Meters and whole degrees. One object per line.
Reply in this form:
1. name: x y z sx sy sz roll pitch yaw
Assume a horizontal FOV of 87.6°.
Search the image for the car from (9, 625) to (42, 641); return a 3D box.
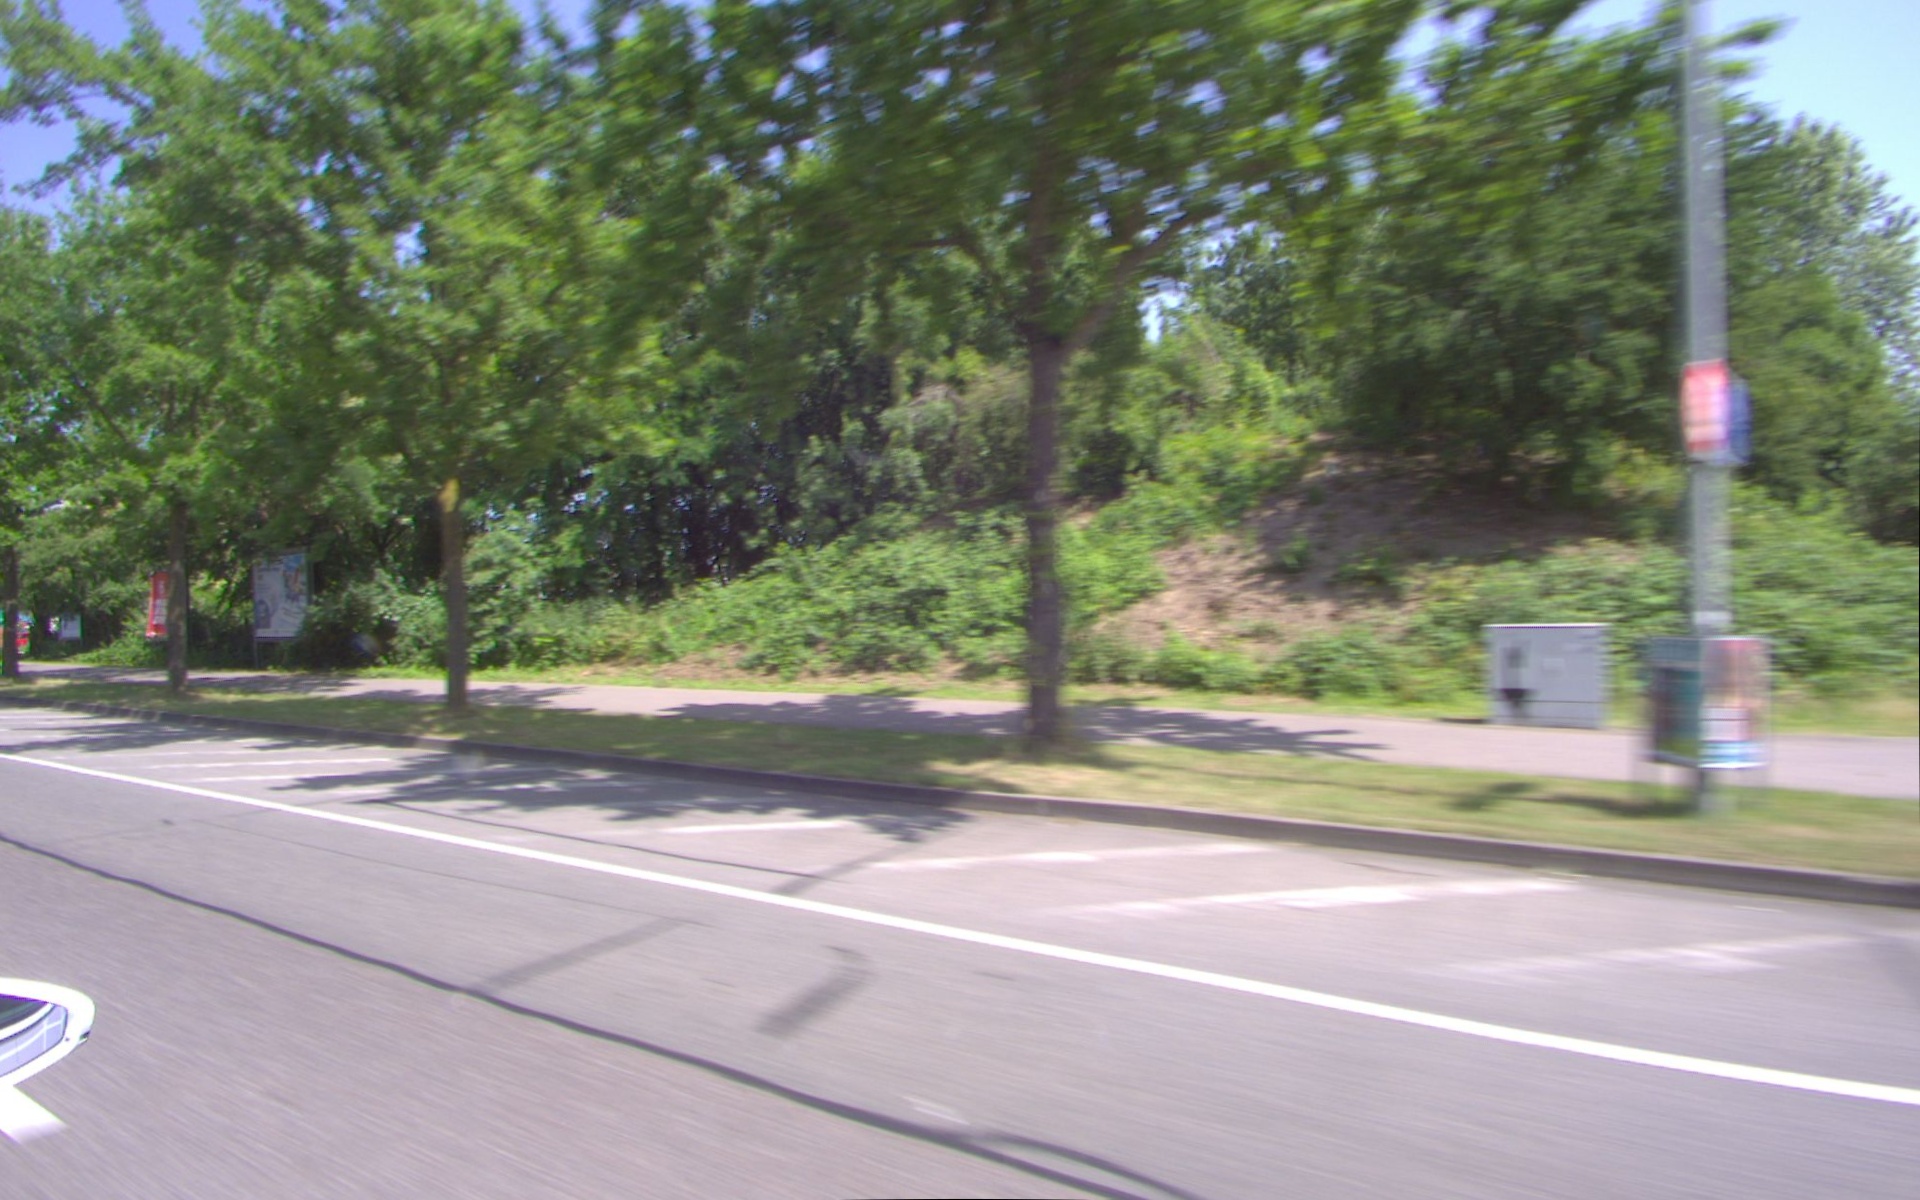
1. car: -69.988 2.459 74.964 3.262 1.203 1.374 -1 0 39
